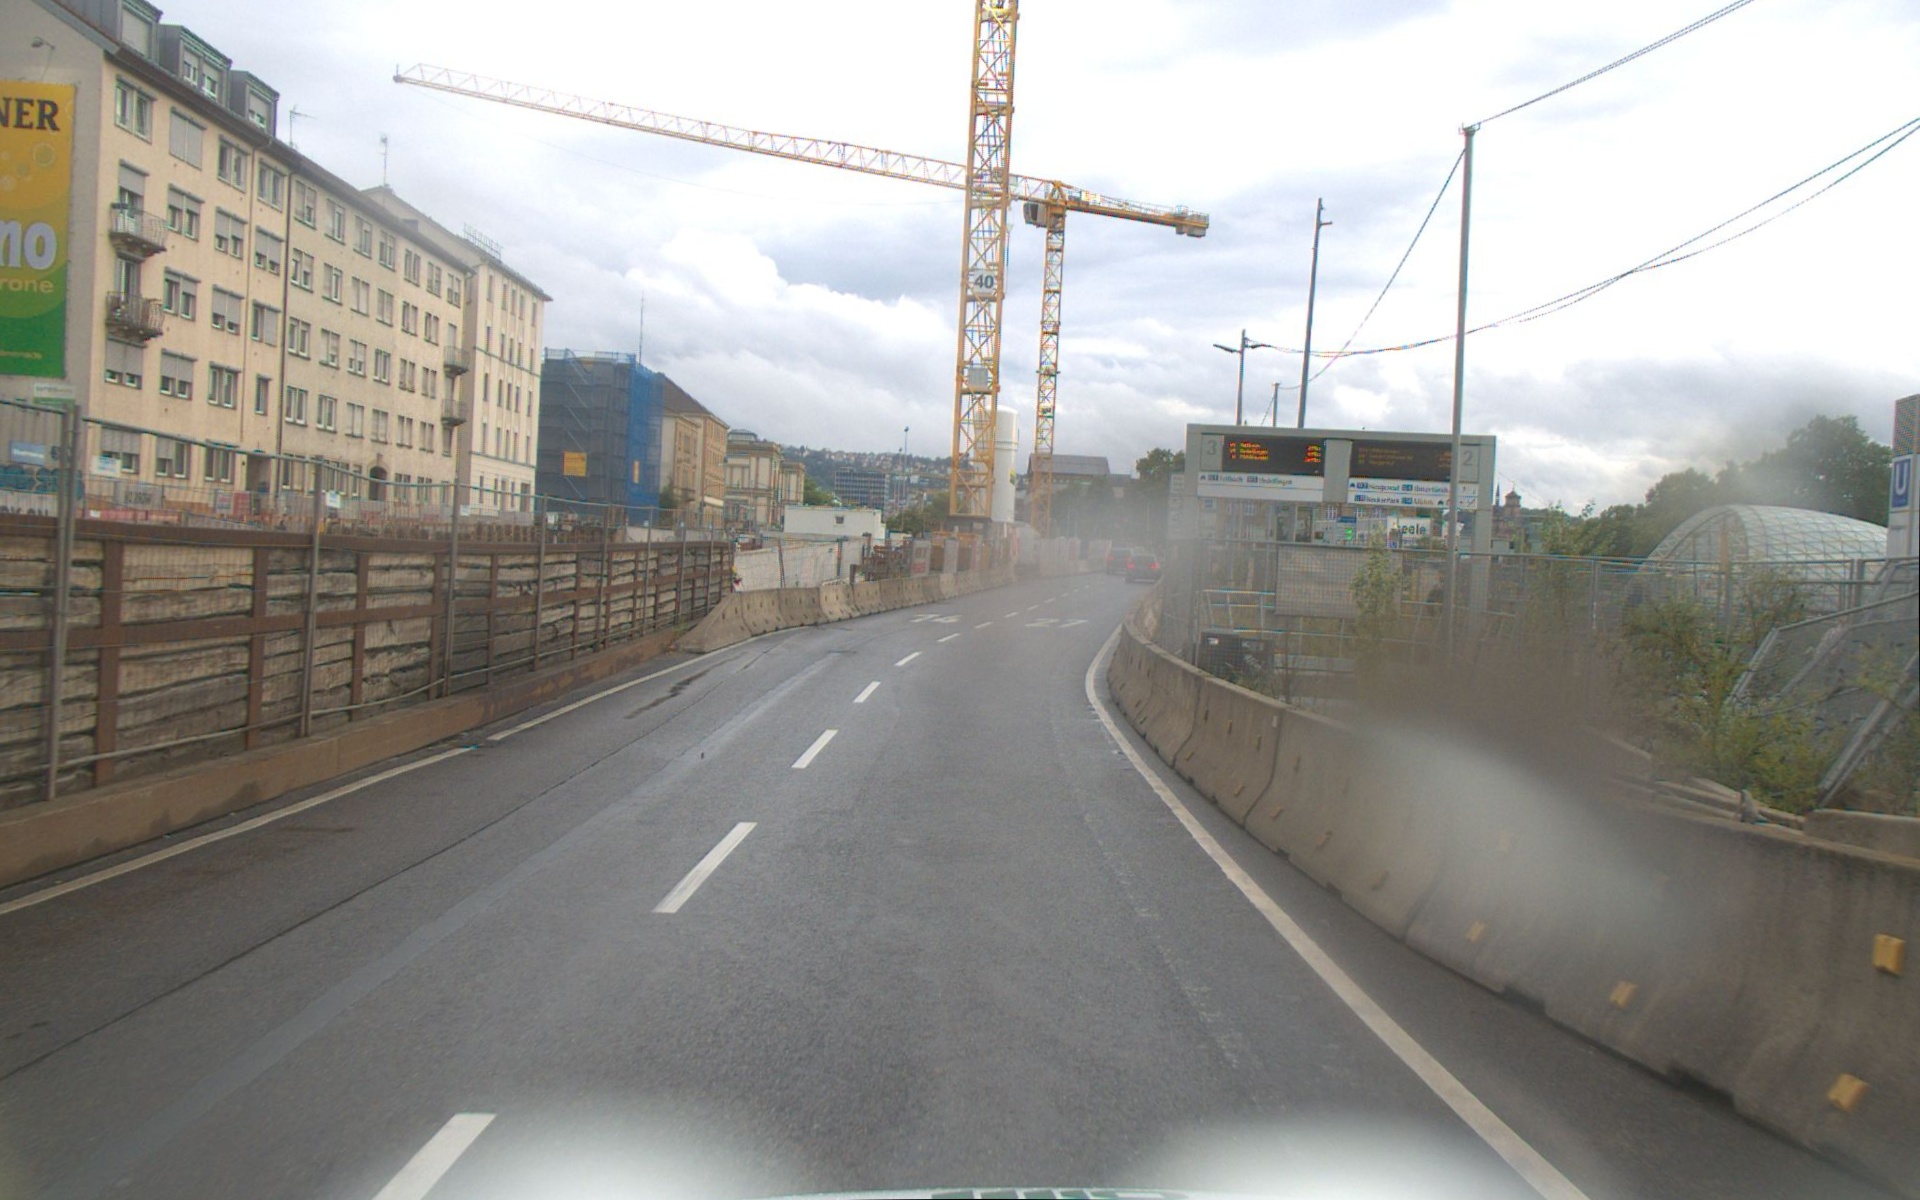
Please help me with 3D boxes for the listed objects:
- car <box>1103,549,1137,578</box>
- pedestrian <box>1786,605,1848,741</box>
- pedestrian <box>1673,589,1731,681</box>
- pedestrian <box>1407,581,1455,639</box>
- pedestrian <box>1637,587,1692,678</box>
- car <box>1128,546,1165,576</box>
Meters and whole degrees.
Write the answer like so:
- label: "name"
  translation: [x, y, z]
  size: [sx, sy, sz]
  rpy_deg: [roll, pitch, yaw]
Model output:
- label: "car"
  translation: [10.077, -2.319, 103.892]
  size: [1.823, 1.689, 4.661]
  rpy_deg: [3, 2, 8]
- label: "pedestrian"
  translation: [11.829, 0.990, 22.848]
  size: [0.676, 1.809, 0.815]
  rpy_deg: [2, 1, 26]
- label: "pedestrian"
  translation: [15.115, 0.697, 33.709]
  size: [0.711, 1.809, 1.023]
  rpy_deg: [2, 1, 3]
- label: "pedestrian"
  translation: [13.928, 0.293, 48.913]
  size: [1.005, 1.687, 0.894]
  rpy_deg: [2, 1, -21]
- label: "pedestrian"
  translation: [14.410, 0.654, 33.848]
  size: [0.675, 1.809, 1.023]
  rpy_deg: [2, 1, 3]
- label: "car"
  translation: [9.587, -1.987, 84.839]
  size: [1.823, 1.458, 4.660]
  rpy_deg: [1, 1, 7]
